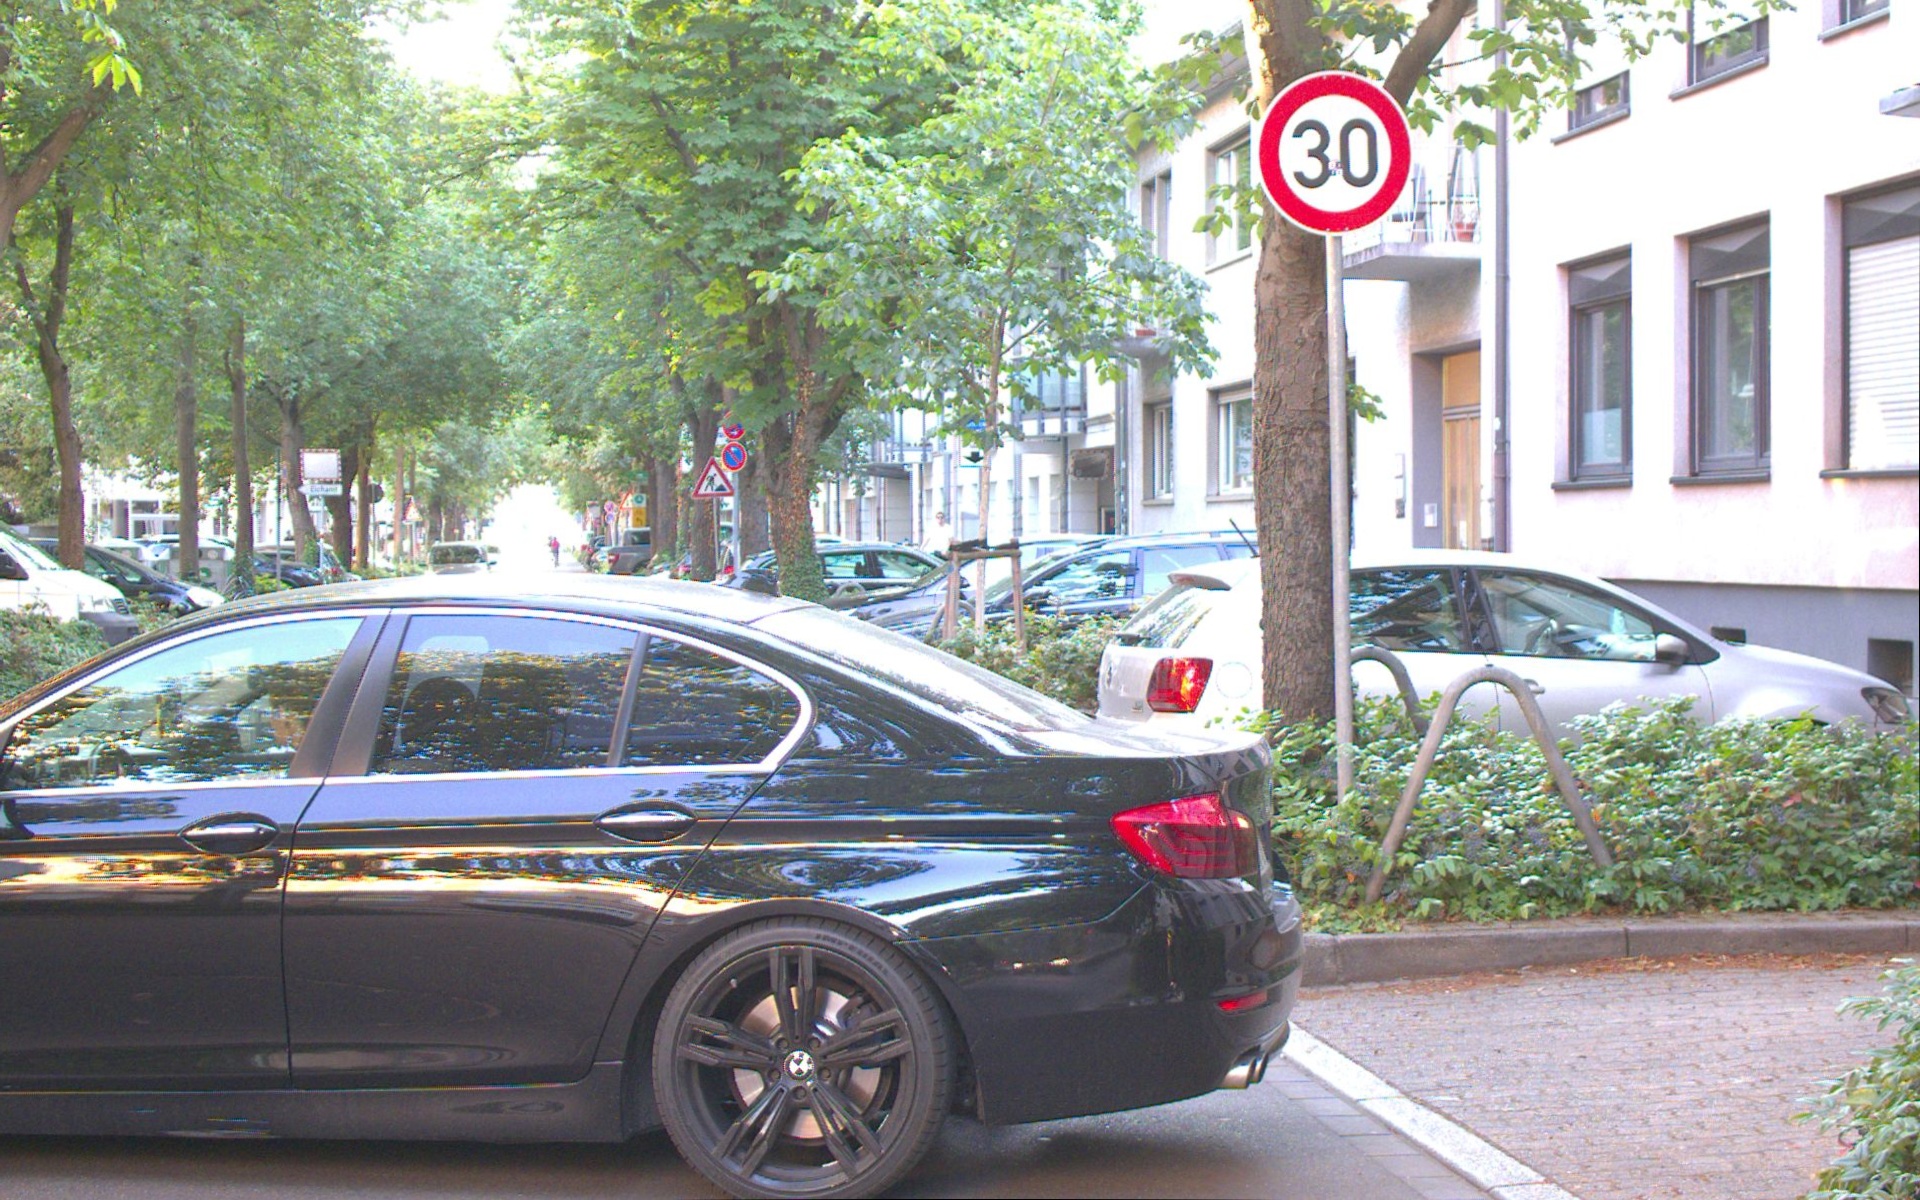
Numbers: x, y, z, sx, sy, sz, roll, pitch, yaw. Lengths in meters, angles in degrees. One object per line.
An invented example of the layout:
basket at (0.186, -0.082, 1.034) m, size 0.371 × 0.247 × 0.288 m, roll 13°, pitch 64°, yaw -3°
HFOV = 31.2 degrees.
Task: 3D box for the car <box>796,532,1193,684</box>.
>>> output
car at (0.324, 0.060, 36.149) m, size 3.967 × 1.522 × 1.785 m, roll -1°, pitch 1°, yaw -7°

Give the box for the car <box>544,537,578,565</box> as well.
car at (-22.438, -2.744, 193.571) m, size 1.822 × 1.525 × 4.001 m, roll -1°, pitch 1°, yaw -6°

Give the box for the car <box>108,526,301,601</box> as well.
car at (-16.707, -0.815, 76.141) m, size 3.967 × 1.614 × 1.785 m, roll 0°, pitch 1°, yaw -5°

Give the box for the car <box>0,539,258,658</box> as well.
car at (-11.920, -0.035, 48.044) m, size 3.967 × 1.614 × 1.785 m, roll -1°, pitch 1°, yaw -6°

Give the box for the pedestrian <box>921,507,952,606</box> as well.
pedestrian at (-0.480, -0.898, 70.154) m, size 0.589 × 2.007 × 0.669 m, roll 0°, pitch 1°, yaw -5°

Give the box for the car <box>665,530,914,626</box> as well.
car at (-2.842, -0.382, 56.824) m, size 3.967 × 1.522 × 1.785 m, roll -1°, pitch 1°, yaw -8°

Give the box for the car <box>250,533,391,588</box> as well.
car at (-19.041, -1.189, 102.457) m, size 3.967 × 1.614 × 1.785 m, roll 0°, pitch 1°, yaw -5°

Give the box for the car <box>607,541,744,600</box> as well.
car at (-8.343, -0.883, 100.776) m, size 3.967 × 1.678 × 1.785 m, roll 0°, pitch 1°, yaw -5°

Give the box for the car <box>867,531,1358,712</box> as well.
car at (1.275, 0.158, 29.681) m, size 3.967 × 1.471 × 1.785 m, roll -1°, pitch 1°, yaw -8°

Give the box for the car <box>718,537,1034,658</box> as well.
car at (-1.127, -0.051, 44.960) m, size 3.967 × 1.522 × 1.785 m, roll -1°, pitch 1°, yaw -7°

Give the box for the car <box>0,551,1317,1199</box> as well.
car at (-1.511, 0.629, 8.644) m, size 4.746 × 1.475 × 1.800 m, roll 0°, pitch 1°, yaw 7°

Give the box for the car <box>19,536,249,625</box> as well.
car at (-15.458, -0.378, 64.509) m, size 3.967 × 1.614 × 1.785 m, roll 0°, pitch 1°, yaw -5°

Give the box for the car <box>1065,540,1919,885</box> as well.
car at (2.567, 0.472, 16.075) m, size 3.908 × 1.471 × 1.665 m, roll -1°, pitch 1°, yaw -8°

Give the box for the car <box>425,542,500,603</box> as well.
car at (-13.138, -0.745, 90.912) m, size 1.779 × 1.557 × 4.169 m, roll 0°, pitch 1°, yaw -6°

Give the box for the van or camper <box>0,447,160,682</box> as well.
van or camper at (-11.124, -0.381, 37.045) m, size 4.662 × 2.470 × 2.000 m, roll 0°, pitch 1°, yaw -7°
